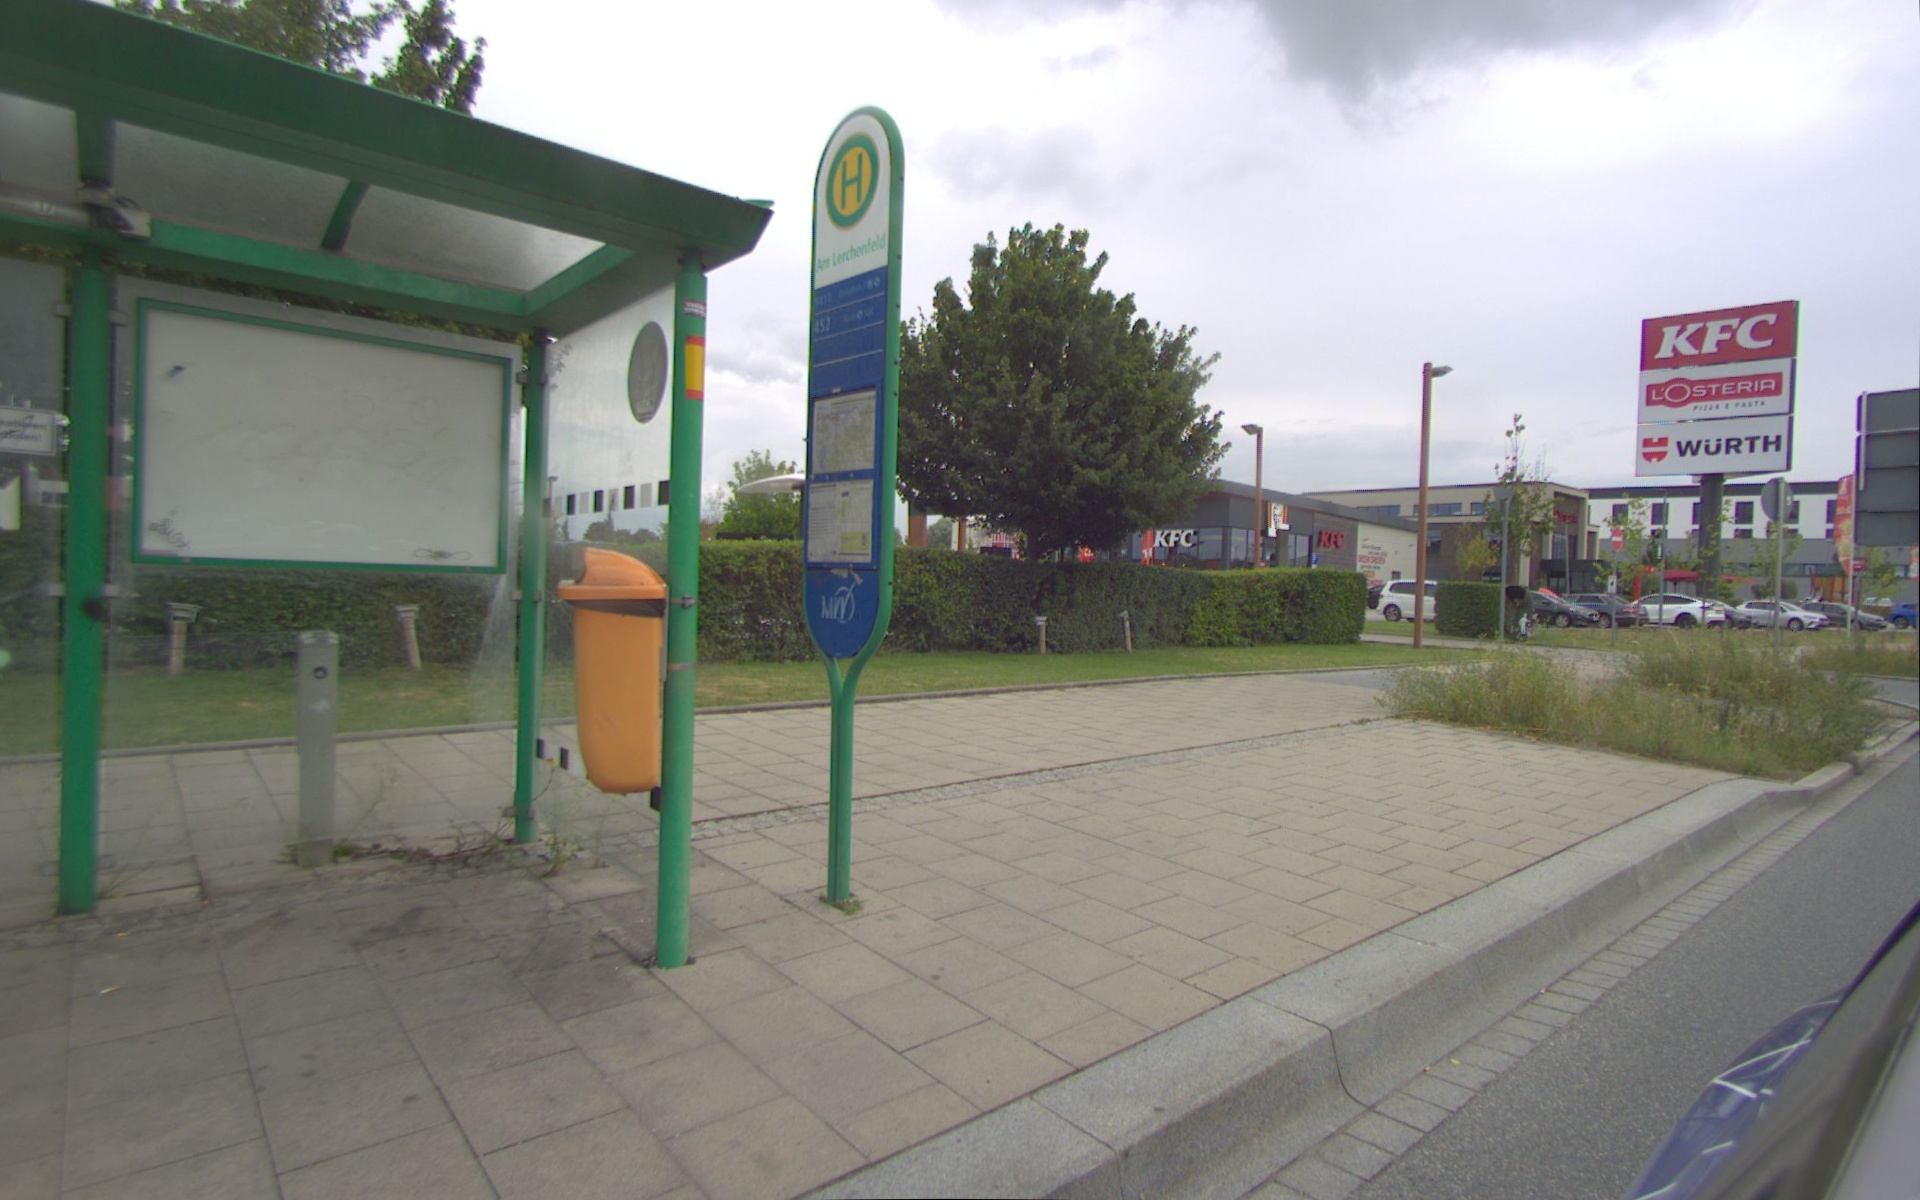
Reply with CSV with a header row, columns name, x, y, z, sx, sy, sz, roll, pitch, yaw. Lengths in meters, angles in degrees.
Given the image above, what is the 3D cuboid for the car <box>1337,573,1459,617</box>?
name,x,y,z,sx,sy,sz,roll,pitch,yaw
car,17.073,-0.217,39.579,1.814,1.547,3.997,1,1,-39

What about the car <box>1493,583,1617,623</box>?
name,x,y,z,sx,sy,sz,roll,pitch,yaw
car,24.481,0.093,41.757,1.811,1.504,4.004,1,1,-32

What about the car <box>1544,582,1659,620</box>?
name,x,y,z,sx,sy,sz,roll,pitch,yaw
car,28.878,0.025,45.680,1.811,1.631,4.003,0,0,-32

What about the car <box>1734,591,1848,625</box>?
name,x,y,z,sx,sy,sz,roll,pitch,yaw
car,41.656,0.385,50.819,1.809,1.504,4.007,1,1,-27

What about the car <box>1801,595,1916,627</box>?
name,x,y,z,sx,sy,sz,roll,pitch,yaw
car,46.333,0.545,52.273,1.809,1.504,4.007,1,1,-27

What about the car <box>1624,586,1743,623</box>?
name,x,y,z,sx,sy,sz,roll,pitch,yaw
car,33.091,0.164,46.382,1.811,1.541,4.004,1,1,-32

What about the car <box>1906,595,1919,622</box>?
name,x,y,z,sx,sy,sz,roll,pitch,yaw
car,55.197,0.478,55.823,1.809,1.505,4.007,0,0,-23

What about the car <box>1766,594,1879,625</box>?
name,x,y,z,sx,sy,sz,roll,pitch,yaw
car,43.921,0.454,51.598,1.809,1.505,4.005,0,0,-27

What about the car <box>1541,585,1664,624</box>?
name,x,y,z,sx,sy,sz,roll,pitch,yaw
car,27.183,0.158,42.932,1.811,1.504,4.004,1,1,-32

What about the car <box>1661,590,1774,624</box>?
name,x,y,z,sx,sy,sz,roll,pitch,yaw
car,36.949,0.301,49.438,1.811,1.504,4.003,1,1,-32
